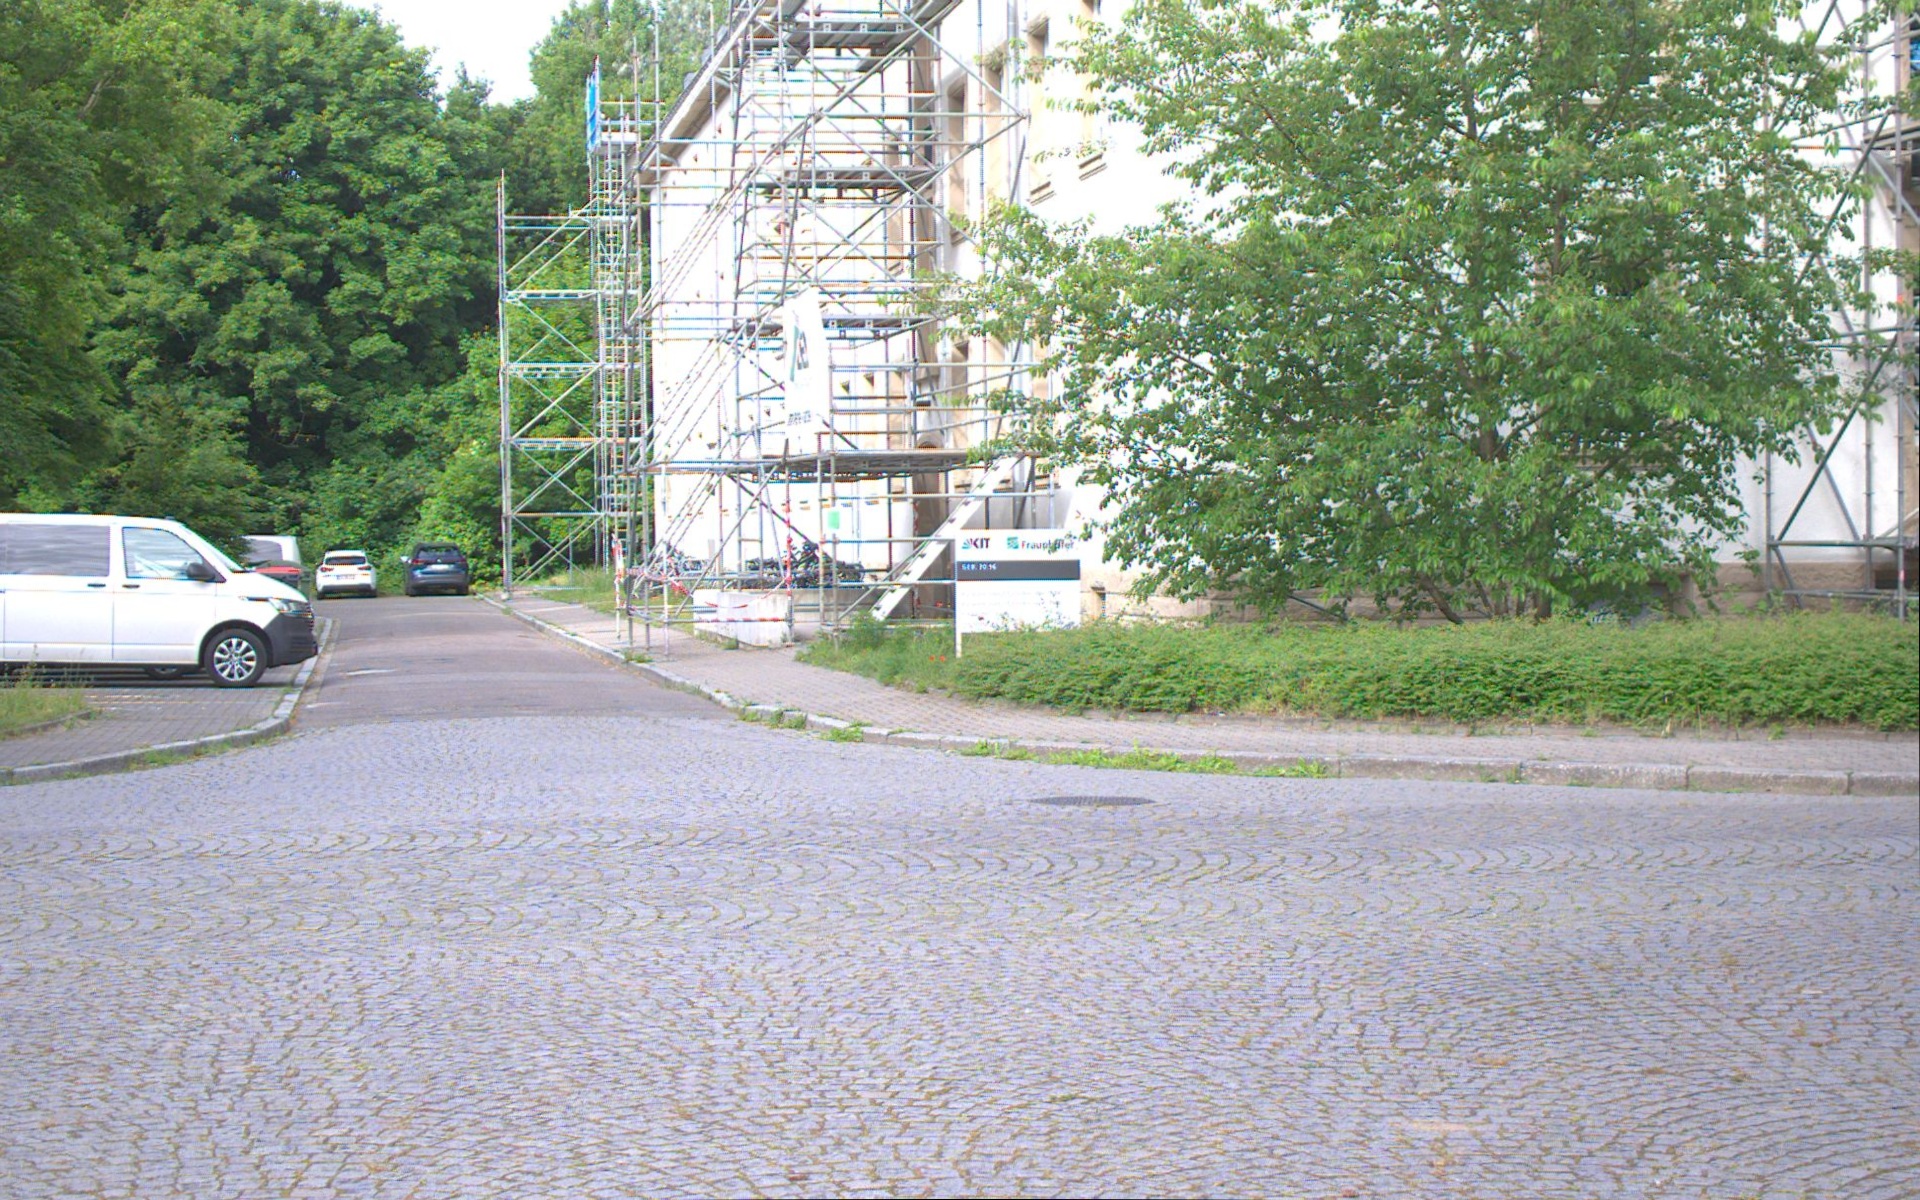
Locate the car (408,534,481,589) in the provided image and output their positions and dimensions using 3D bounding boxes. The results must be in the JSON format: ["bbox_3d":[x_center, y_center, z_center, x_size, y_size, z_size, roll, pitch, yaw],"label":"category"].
[{"bbox_3d":[-15.840,-1.156,105.773,2.063,1.588,4.001,2,0,-7],"label":"car"}]

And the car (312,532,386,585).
[{"bbox_3d":[-18.654,-1.248,104.867,2.001,1.542,3.959,2,0,-12],"label":"car"}]

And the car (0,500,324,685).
[{"bbox_3d":[-9.949,-0.089,39.431,5.199,2.053,2.189,0,0,-10],"label":"car"}]

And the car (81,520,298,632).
[{"bbox_3d":[-14.893,-0.455,66.440,3.986,2.007,1.922,2,0,-13],"label":"car"}]

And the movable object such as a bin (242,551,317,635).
[{"bbox_3d":[-11.678,-0.120,59.052,1.183,1.402,0.975,2,0,-9],"label":"movable object such as a bin"}]

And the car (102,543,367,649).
[{"bbox_3d":[-10.995,-0.057,52.253,3.628,1.476,1.821,2,0,-1],"label":"car"}]

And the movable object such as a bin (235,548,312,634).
[{"bbox_3d":[-11.509,-0.151,57.685,1.183,1.402,0.975,2,0,-9],"label":"movable object such as a bin"}]
